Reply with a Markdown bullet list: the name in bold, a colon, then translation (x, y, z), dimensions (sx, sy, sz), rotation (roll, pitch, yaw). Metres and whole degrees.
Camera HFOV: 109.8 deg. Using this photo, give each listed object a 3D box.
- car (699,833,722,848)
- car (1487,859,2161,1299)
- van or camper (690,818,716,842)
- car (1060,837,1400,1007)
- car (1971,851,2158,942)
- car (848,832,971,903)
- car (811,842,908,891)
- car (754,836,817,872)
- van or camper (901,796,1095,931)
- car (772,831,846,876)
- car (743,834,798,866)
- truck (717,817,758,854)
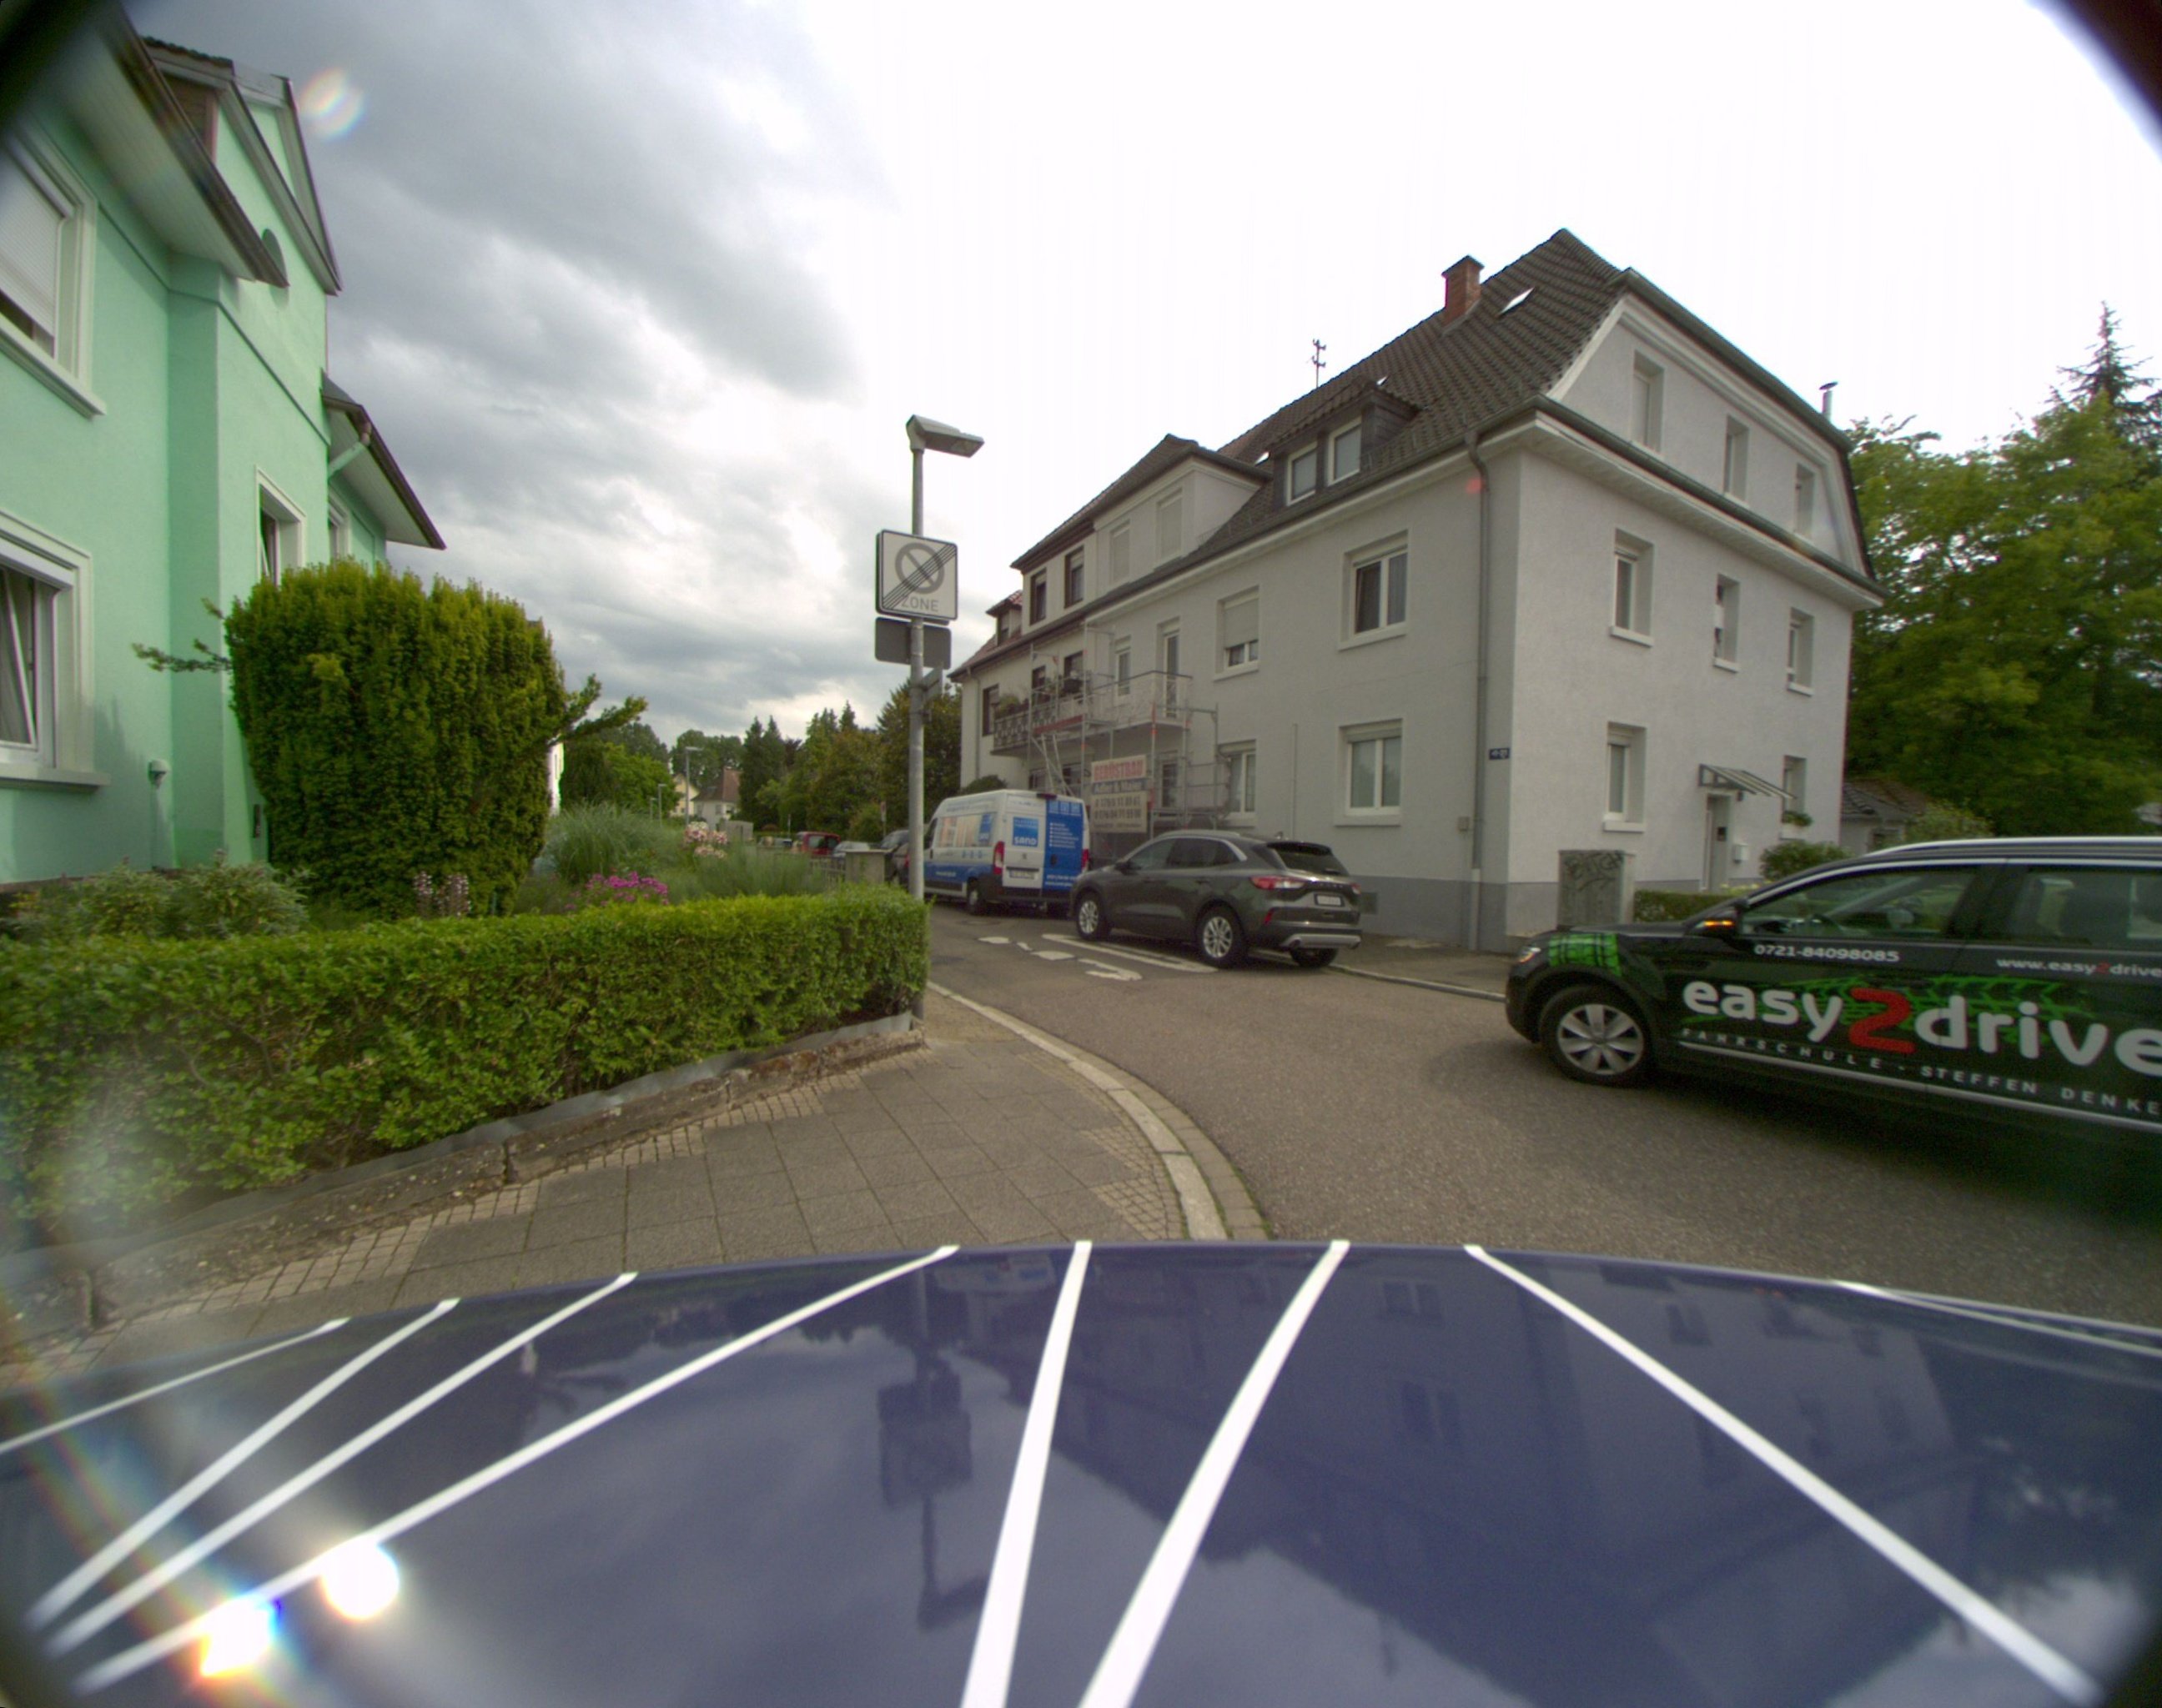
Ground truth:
- **car**: translation (-35.957, -1.275, 73.675), dimensions (1.830, 1.368, 3.989), rotation (0, 2, -29)
- **car**: translation (4.401, 0.827, 3.631), dimensions (1.824, 1.511, 4.034), rotation (1, 0, -24)
- **van or camper**: translation (-42.009, -2.696, 84.362), dimensions (2.152, 2.527, 5.001), rotation (0, 2, -31)
- **car**: translation (1.716, 0.665, 10.235), dimensions (2.004, 1.717, 4.329), rotation (0, 2, -33)
- **car**: translation (22.718, 0.880, 17.539), dimensions (4.006, 1.827, 1.995), rotation (0, 2, -29)
- **car**: translation (-4.964, 0.296, 21.530), dimensions (2.004, 1.762, 4.329), rotation (0, 2, -33)
- **car**: translation (-7.610, 0.357, 25.834), dimensions (2.004, 1.447, 4.329), rotation (0, 2, -33)
- **car**: translation (-14.385, -0.063, 36.849), dimensions (2.004, 1.582, 4.329), rotation (0, 2, -33)
- **van or camper**: translation (-2.004, 0.097, 16.423), dimensions (2.203, 2.445, 5.040), rotation (0, 2, -31)
- **car**: translation (-11.714, -0.067, 32.558), dimensions (2.004, 1.739, 4.329), rotation (0, 2, -33)
- **car**: translation (-17.199, -0.255, 41.958), dimensions (2.004, 1.582, 4.329), rotation (0, 2, -33)
- **truck**: translation (-25.576, -1.364, 56.471), dimensions (2.140, 2.642, 4.571), rotation (0, 2, -33)
